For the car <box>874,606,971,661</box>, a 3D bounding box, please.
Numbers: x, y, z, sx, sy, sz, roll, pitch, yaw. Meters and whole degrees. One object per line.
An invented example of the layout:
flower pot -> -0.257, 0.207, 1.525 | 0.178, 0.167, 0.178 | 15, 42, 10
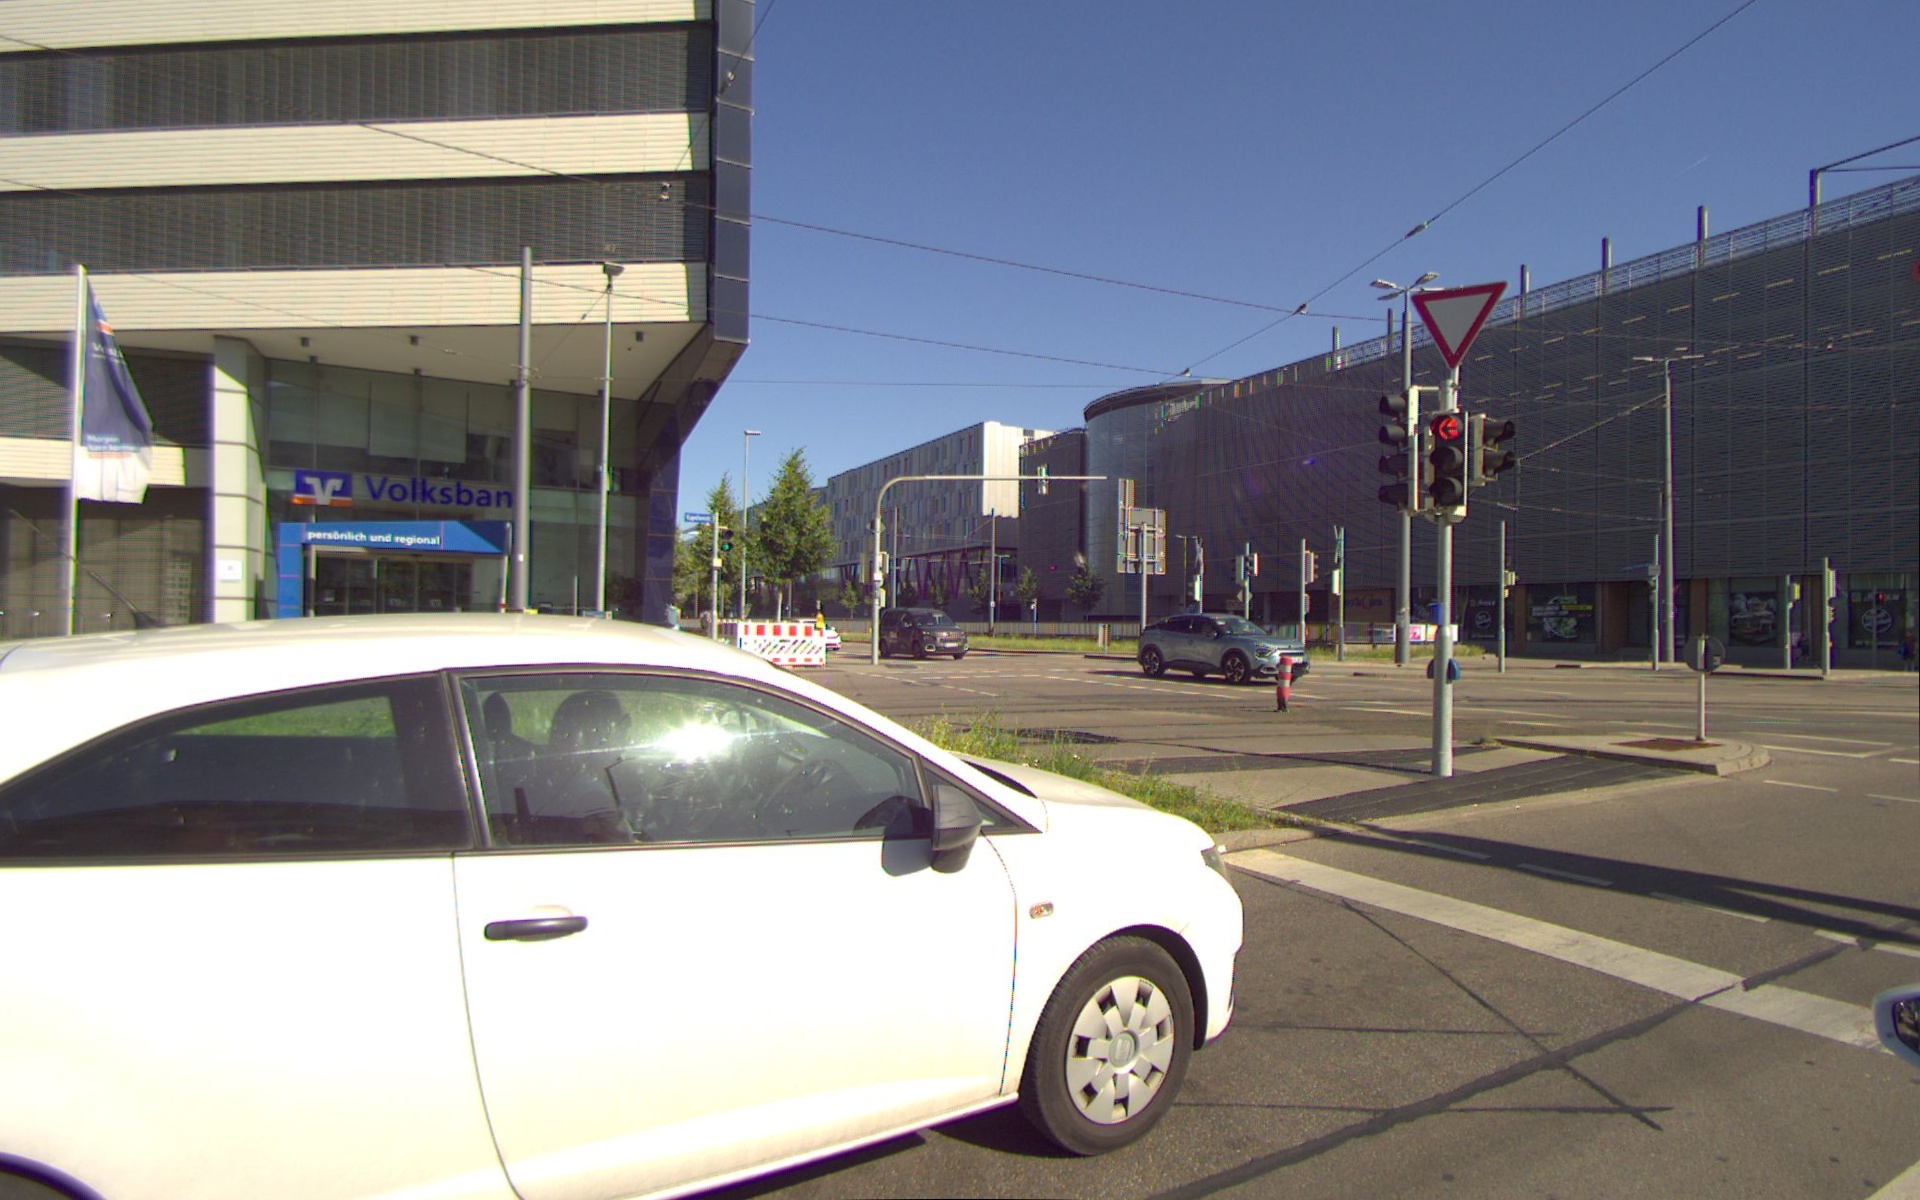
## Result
car -> -1.416, 1.160, 35.639 | 1.688, 1.815, 4.440 | 1, -1, -28

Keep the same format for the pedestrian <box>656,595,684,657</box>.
pedestrian -> -8.264, 0.740, 28.611 | 0.729, 1.719, 0.805 | 0, -2, -20

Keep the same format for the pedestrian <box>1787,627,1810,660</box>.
pedestrian -> 42.916, 2.218, 51.433 | 0.584, 1.622, 0.661 | 2, 0, -11

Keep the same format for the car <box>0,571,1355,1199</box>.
car -> -0.955, 0.735, 2.791 | 3.977, 1.460, 1.723 | 2, 1, -31

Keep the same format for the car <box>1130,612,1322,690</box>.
car -> 5.928, 1.088, 22.874 | 1.690, 1.534, 4.241 | 1, 0, -32

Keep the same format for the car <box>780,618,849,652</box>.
car -> -6.793, 1.607, 46.549 | 1.842, 1.492, 4.265 | 1, -1, -28

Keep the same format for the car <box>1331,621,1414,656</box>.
car -> 24.517, 2.260, 59.842 | 1.819, 1.666, 4.268 | 2, 2, -30

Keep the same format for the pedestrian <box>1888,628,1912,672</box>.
pedestrian -> 39.970, 2.115, 42.730 | 0.687, 1.821, 0.726 | -2, -3, 44
